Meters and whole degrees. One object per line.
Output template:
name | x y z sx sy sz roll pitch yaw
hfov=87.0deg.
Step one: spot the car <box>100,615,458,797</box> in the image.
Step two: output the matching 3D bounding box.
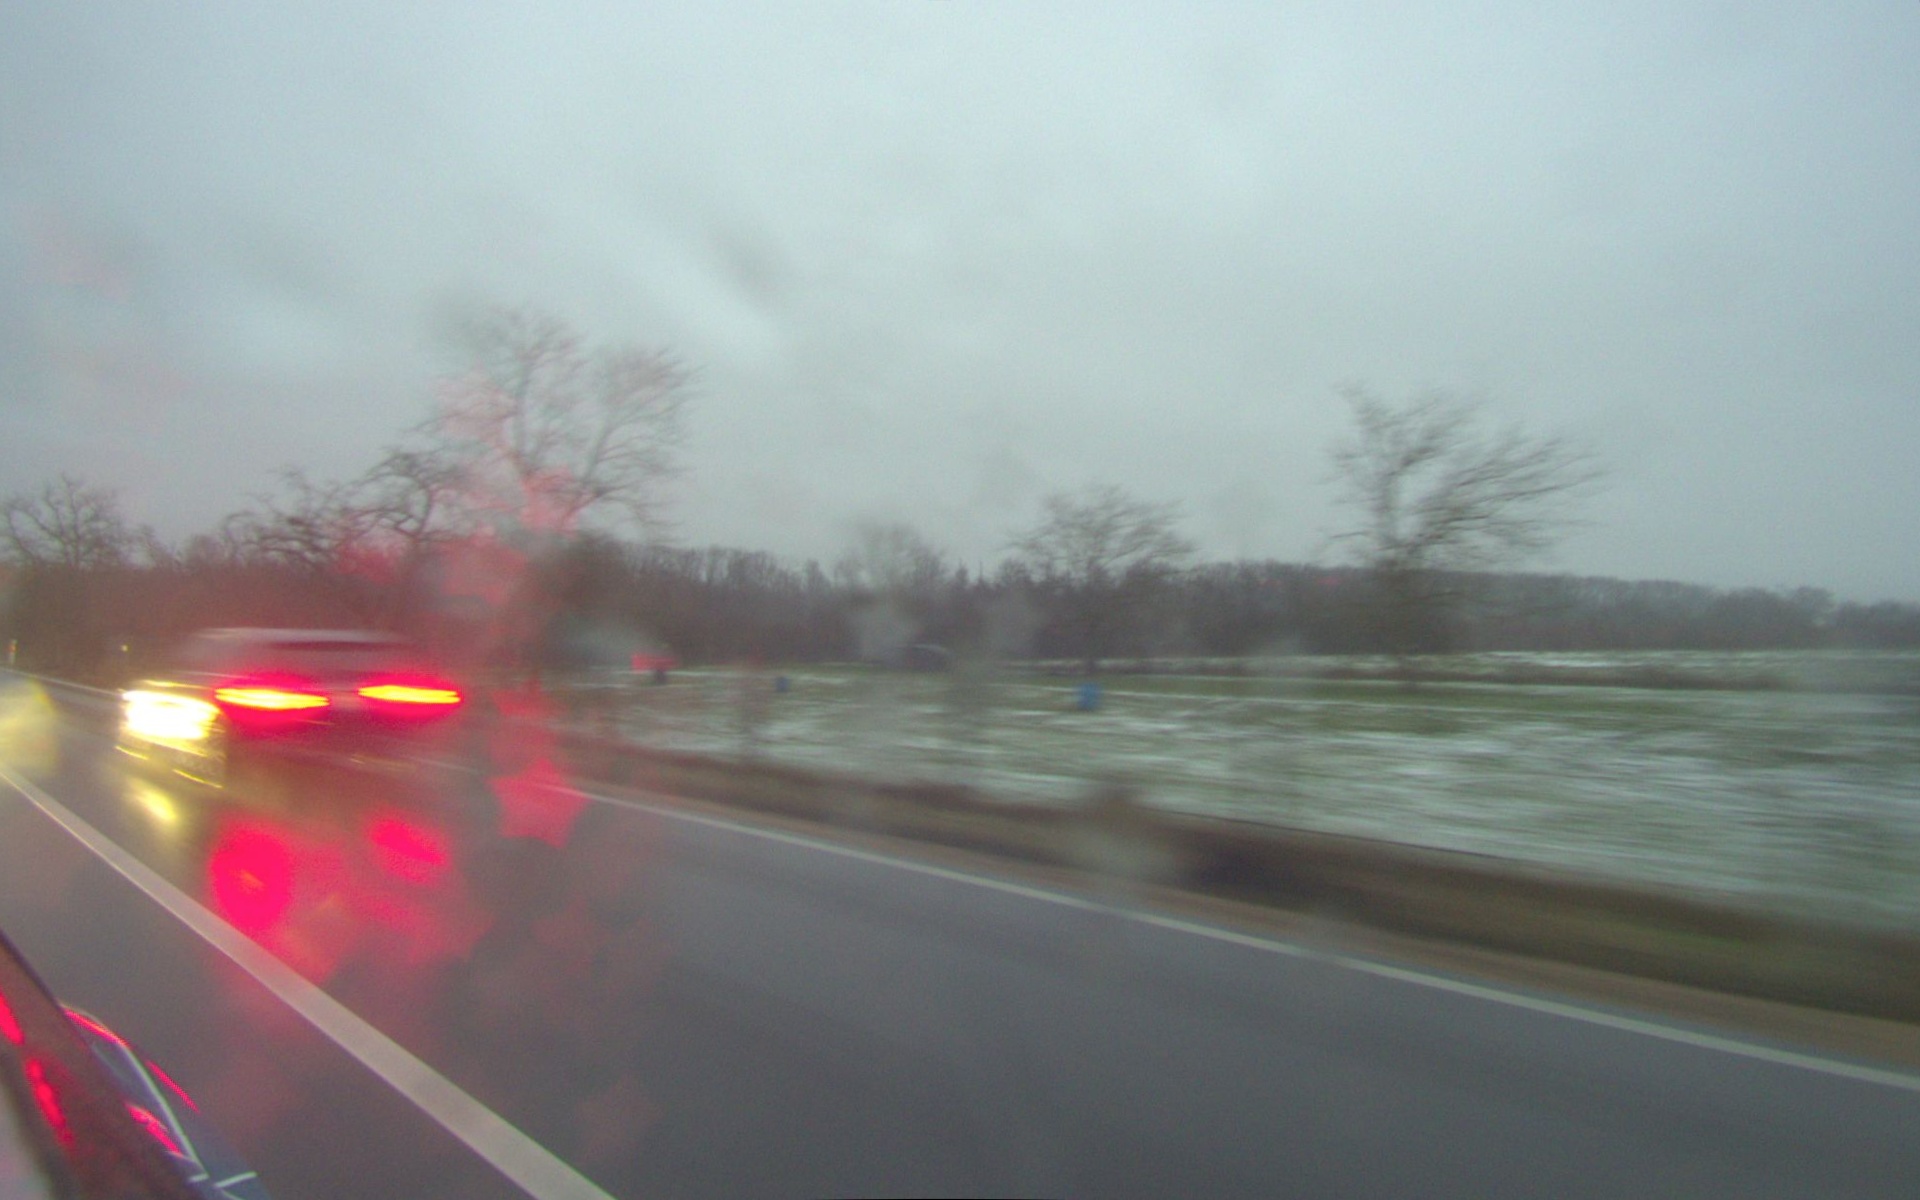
car | -7.283 0.982 10.650 4.511 1.529 1.837 -2 -4 39
